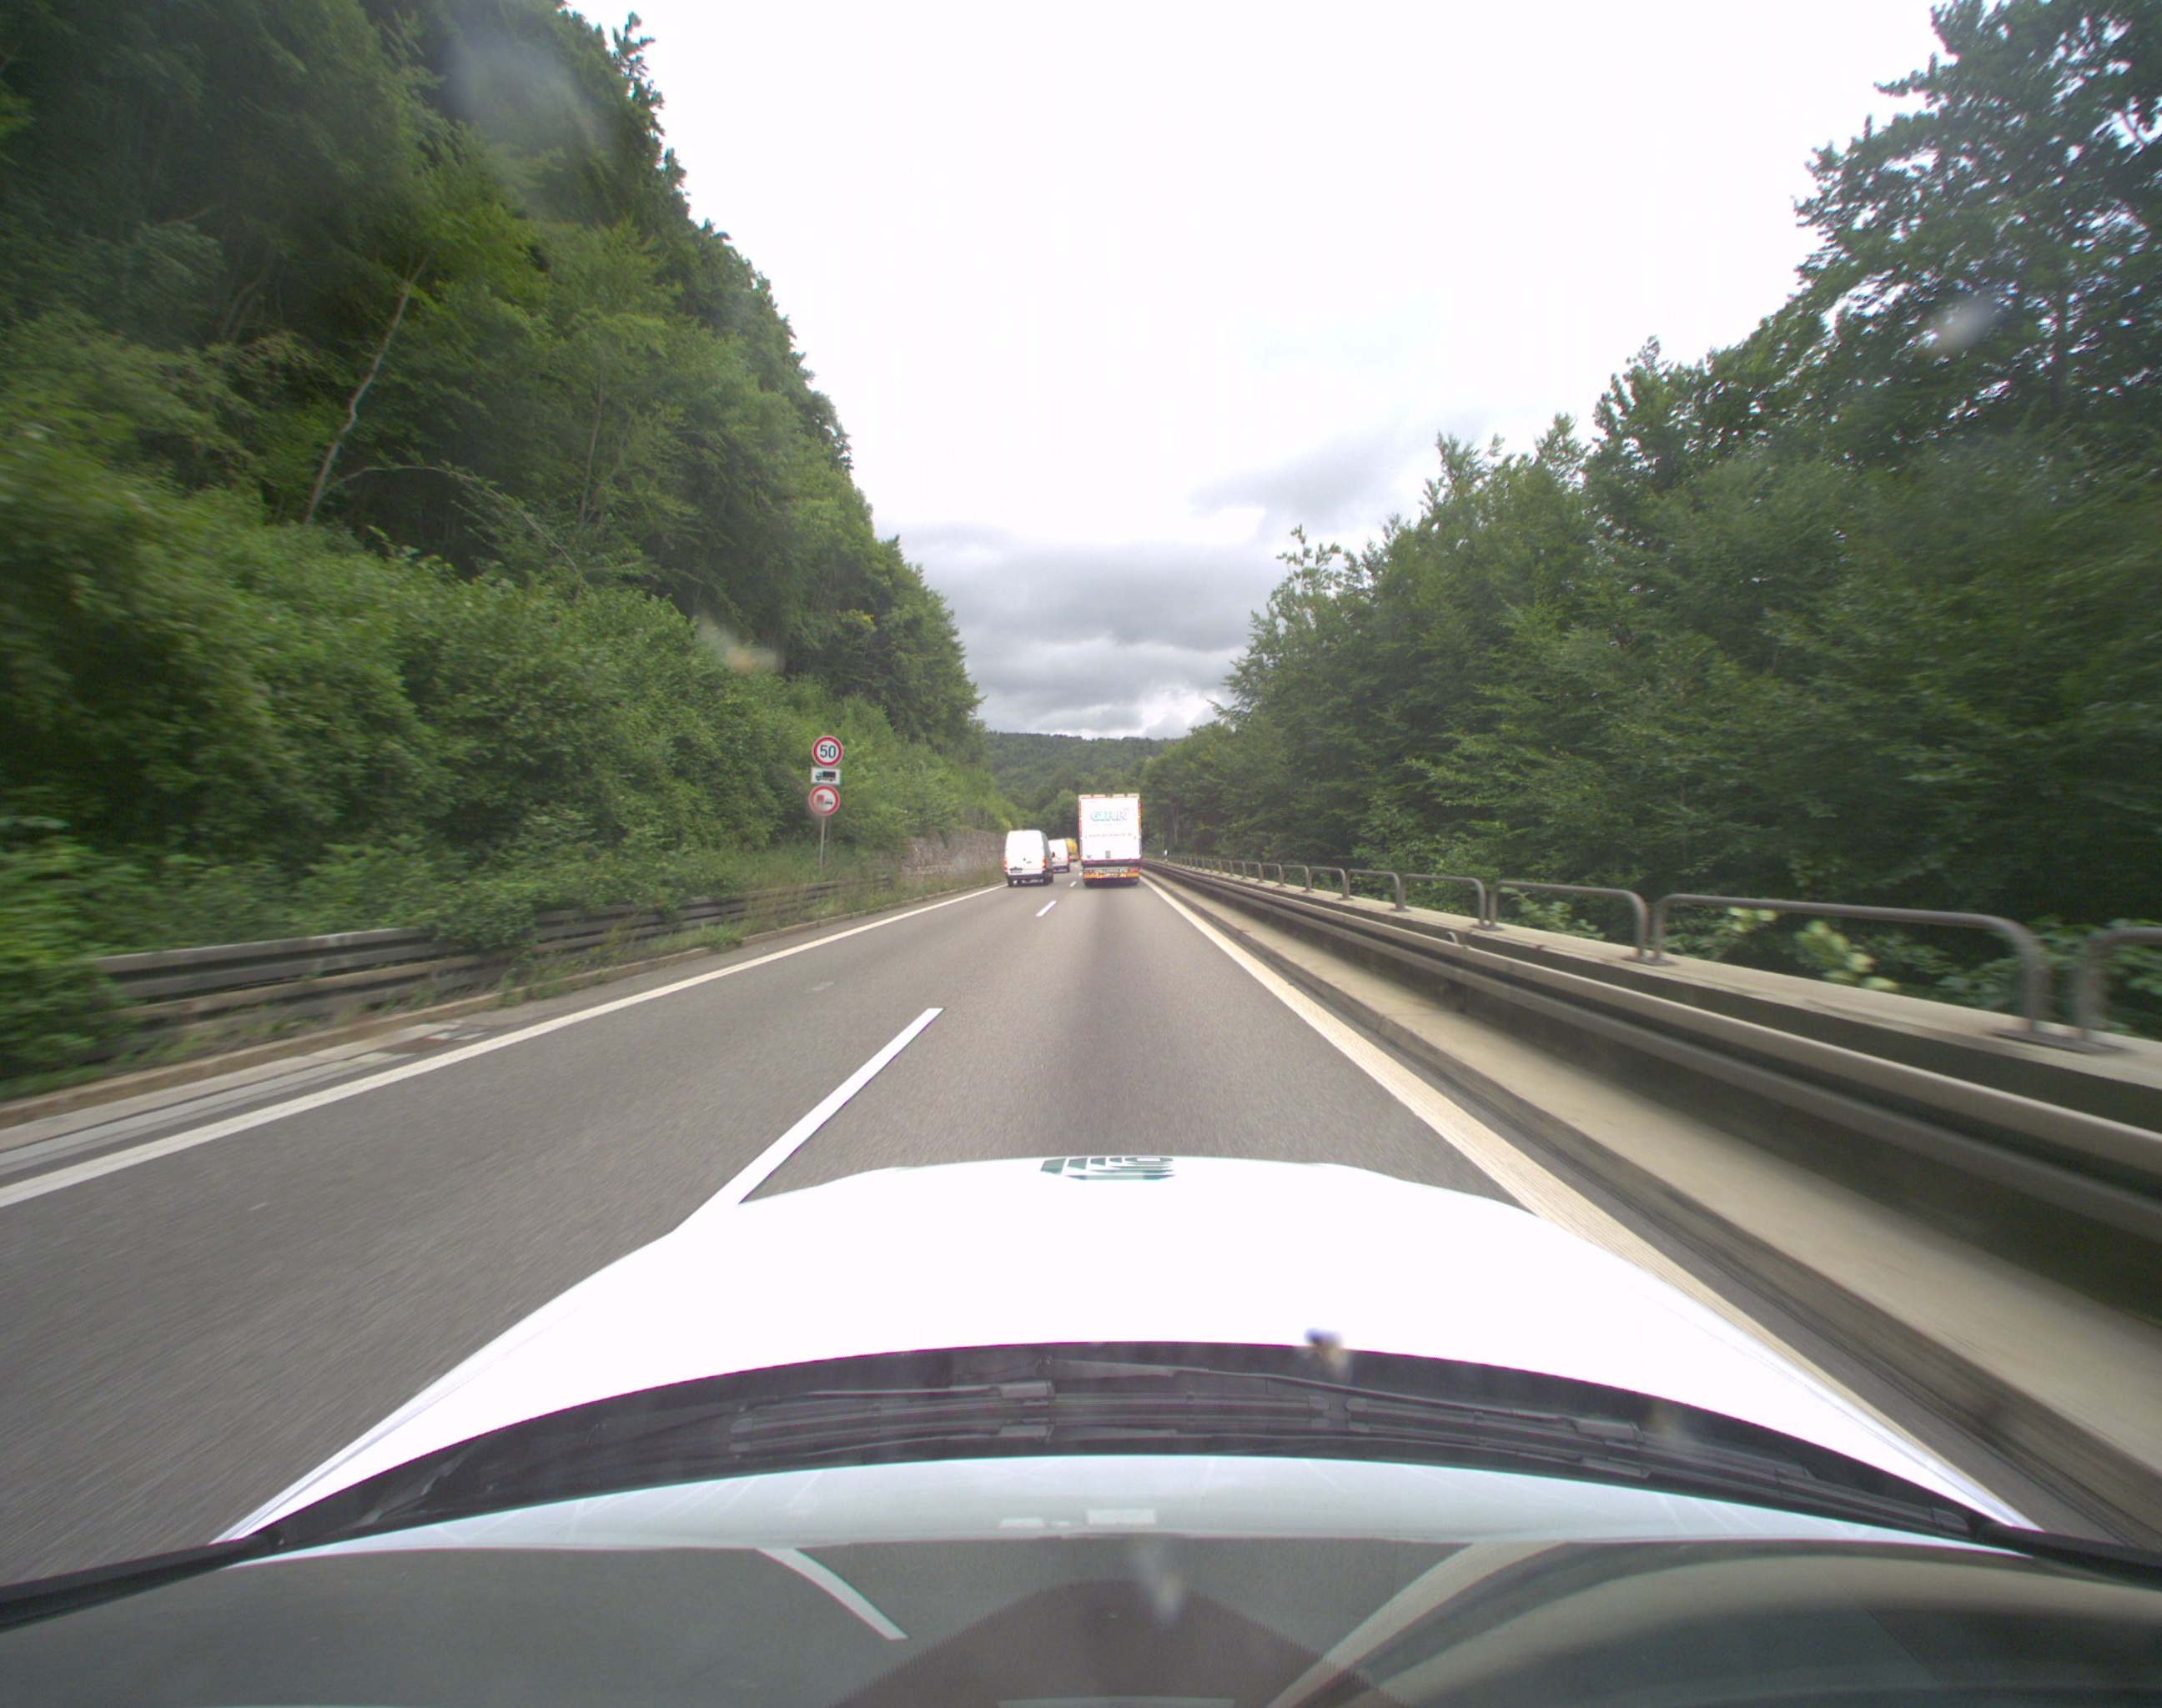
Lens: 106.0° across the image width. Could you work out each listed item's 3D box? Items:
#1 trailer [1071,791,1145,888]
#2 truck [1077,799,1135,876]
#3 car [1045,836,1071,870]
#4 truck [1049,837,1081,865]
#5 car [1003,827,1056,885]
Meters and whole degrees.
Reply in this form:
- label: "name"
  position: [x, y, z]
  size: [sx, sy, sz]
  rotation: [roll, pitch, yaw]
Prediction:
- label: "trailer"
  position: [1.262, -0.765, 39.706]
  size: [3.046, 3.985, 12.141]
  rotation: [0, 1, 1]
- label: "truck"
  position: [1.404, -0.940, 46.157]
  size: [3.046, 3.985, 7.190]
  rotation: [0, 1, 1]
- label: "car"
  position: [-1.854, -0.067, 67.300]
  size: [1.933, 2.672, 5.990]
  rotation: [-1, 0, 0]
- label: "truck"
  position: [-2.731, -0.541, 130.373]
  size: [3.057, 3.985, 13.655]
  rotation: [-4, 1, -9]
- label: "car"
  position: [-2.530, 0.082, 41.471]
  size: [1.981, 2.672, 6.939]
  rotation: [-1, 0, 2]
